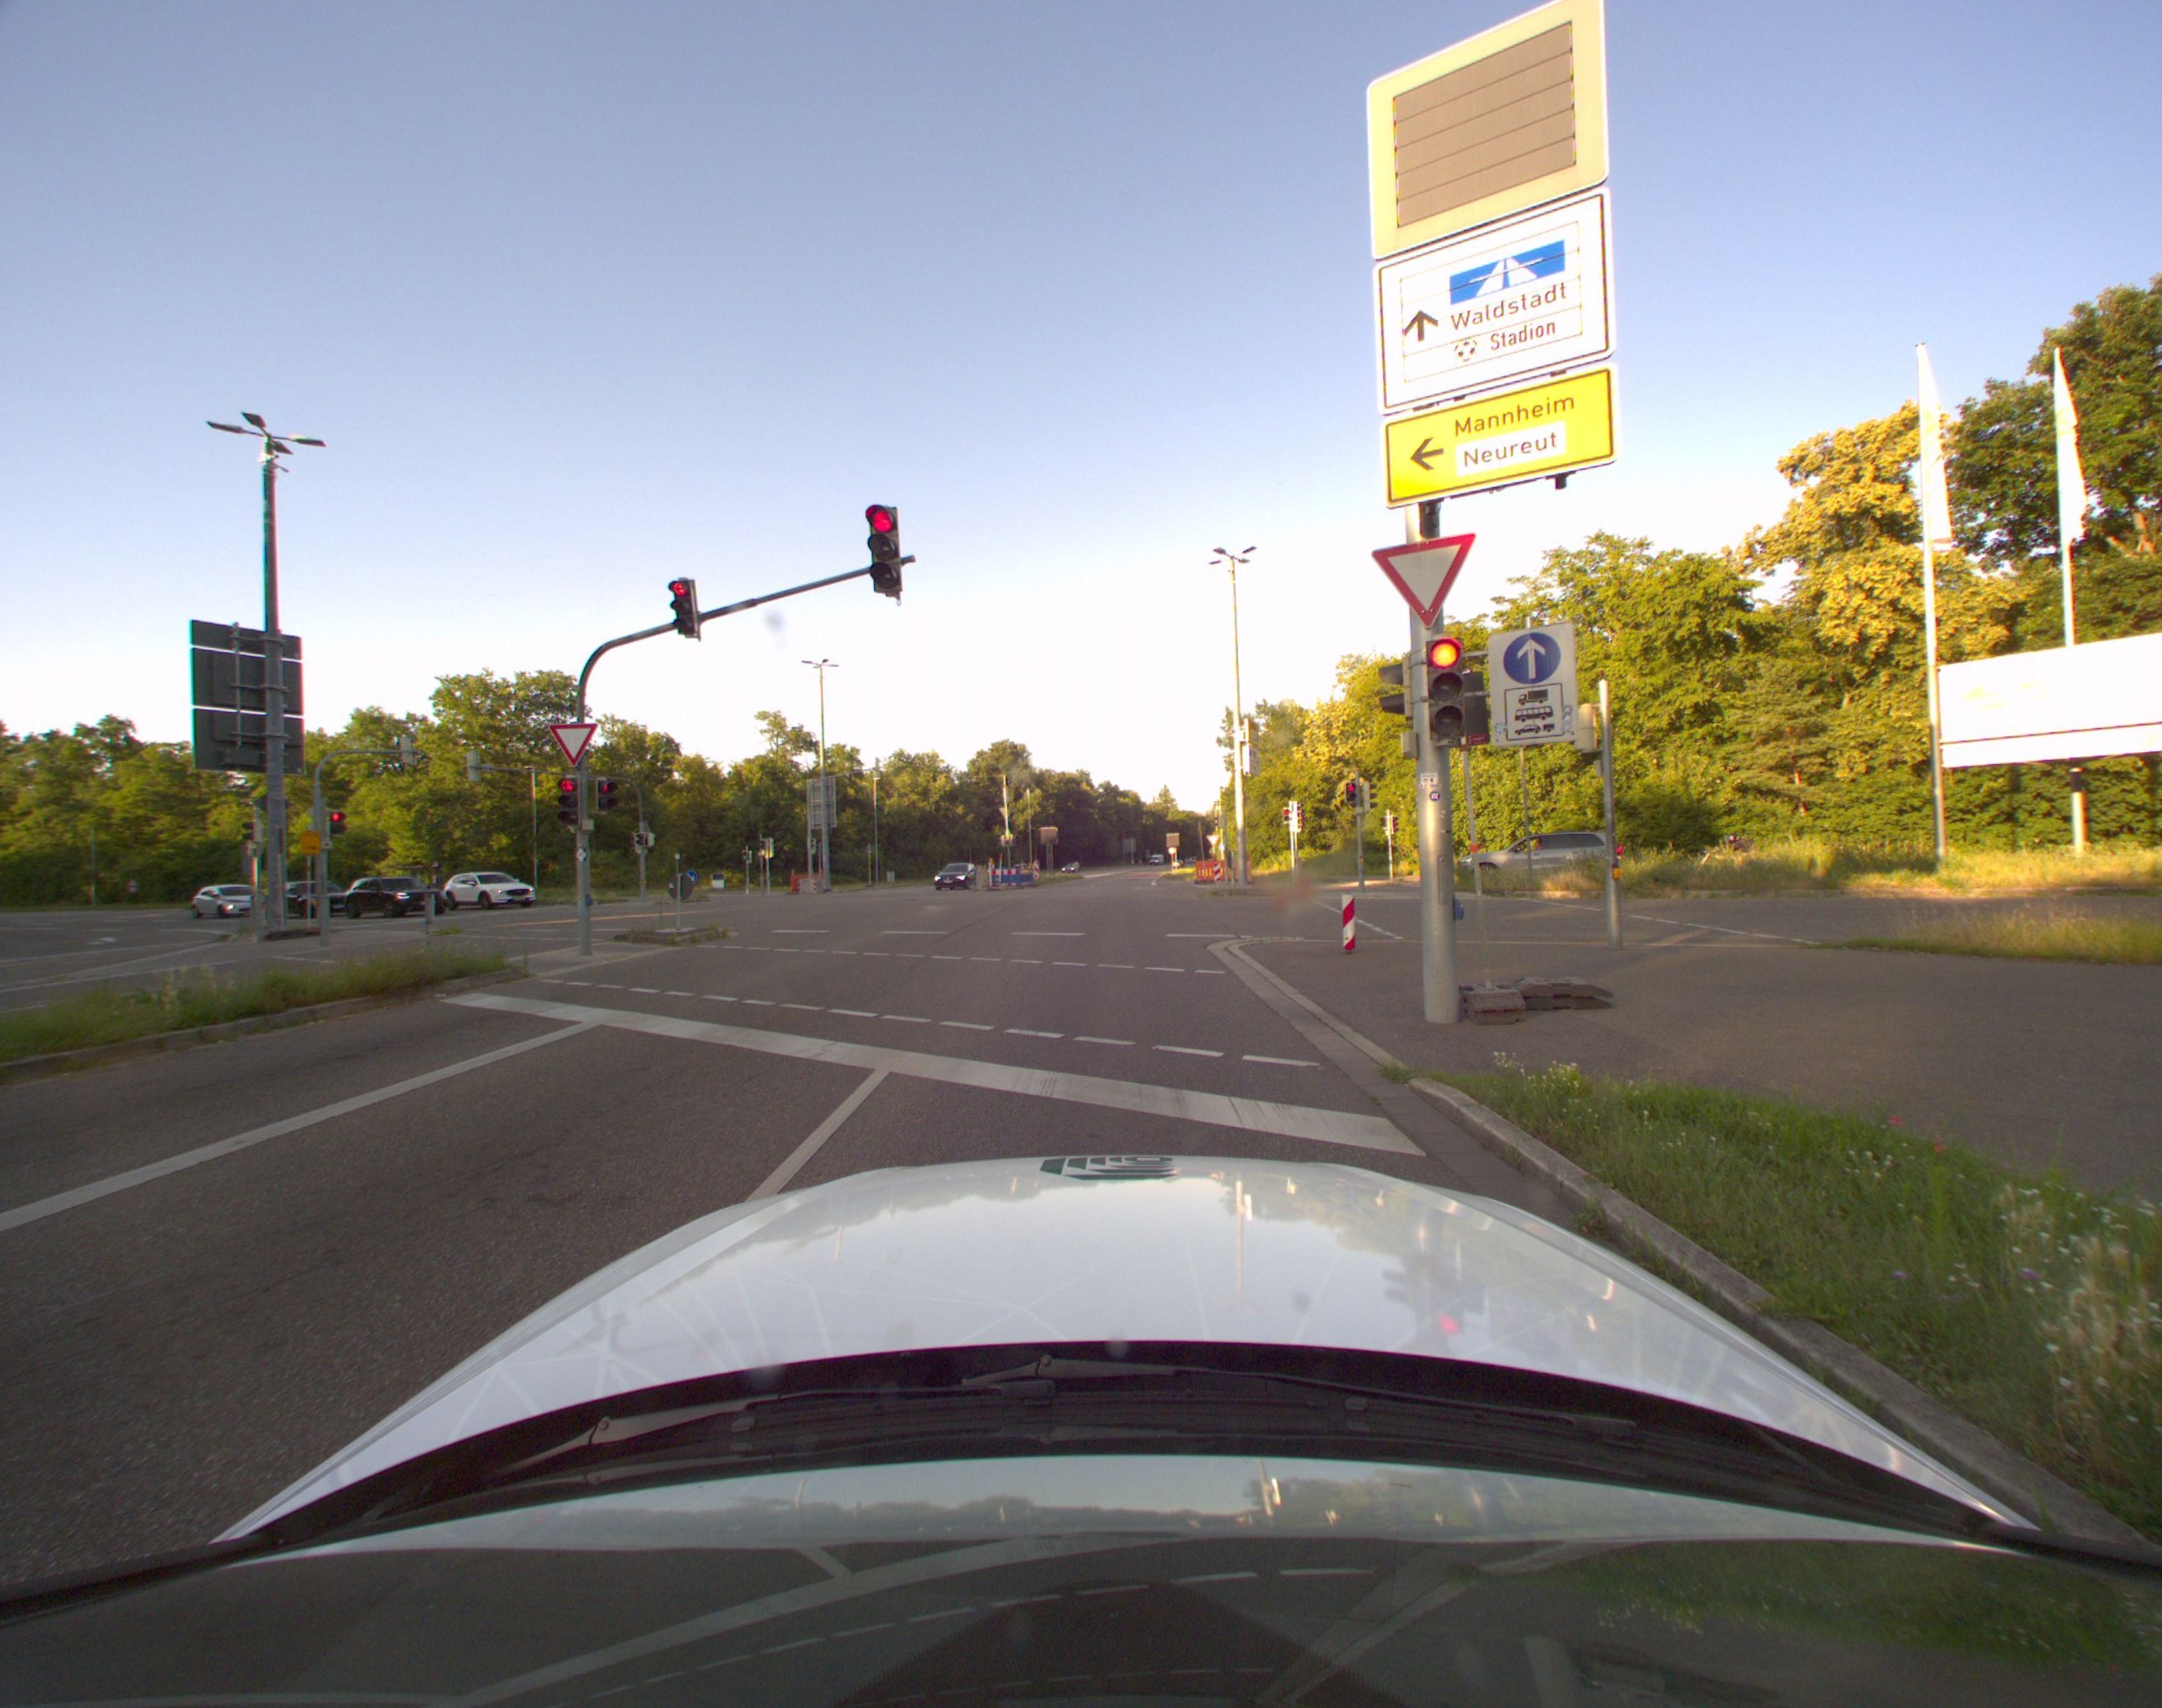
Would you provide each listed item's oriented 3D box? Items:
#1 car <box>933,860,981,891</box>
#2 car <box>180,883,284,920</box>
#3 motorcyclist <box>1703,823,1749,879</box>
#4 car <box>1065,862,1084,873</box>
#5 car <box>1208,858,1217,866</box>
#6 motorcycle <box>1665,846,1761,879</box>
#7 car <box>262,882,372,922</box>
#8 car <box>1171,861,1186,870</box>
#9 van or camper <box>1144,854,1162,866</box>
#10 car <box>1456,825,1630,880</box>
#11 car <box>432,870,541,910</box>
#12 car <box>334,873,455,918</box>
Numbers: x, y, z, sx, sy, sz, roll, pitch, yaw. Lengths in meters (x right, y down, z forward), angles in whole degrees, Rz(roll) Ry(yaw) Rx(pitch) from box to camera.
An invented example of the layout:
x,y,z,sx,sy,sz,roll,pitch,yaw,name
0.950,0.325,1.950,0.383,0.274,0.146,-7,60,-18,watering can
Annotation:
x,y,z,sx,sy,sz,roll,pitch,yaw,name
-6.779,1.141,44.901,1.988,1.530,4.676,-2,0,-1,car
-41.156,2.296,39.487,4.207,1.640,2.011,-2,0,21,car
19.062,-0.085,24.077,0.878,1.595,0.658,-2,-1,23,motorcyclist
-0.944,1.993,120.730,1.980,1.420,4.014,-2,0,12,car
34.143,2.002,210.710,1.774,2.013,4.017,-2,0,16,car
18.752,0.265,24.217,2.125,0.910,0.666,-2,0,23,motorcycle
-33.819,2.121,36.072,4.205,1.640,2.011,-2,0,23,car
18.051,2.099,150.211,1.977,1.618,4.019,-2,0,18,car
17.912,1.429,202.530,2.862,2.652,7.155,-2,0,18,van or camper
15.113,-0.031,27.005,4.773,1.598,2.011,-2,0,23,car
-26.653,1.602,36.521,4.206,1.640,2.011,-2,0,23,car
-27.456,1.665,32.582,4.206,1.640,2.011,-2,0,23,car
